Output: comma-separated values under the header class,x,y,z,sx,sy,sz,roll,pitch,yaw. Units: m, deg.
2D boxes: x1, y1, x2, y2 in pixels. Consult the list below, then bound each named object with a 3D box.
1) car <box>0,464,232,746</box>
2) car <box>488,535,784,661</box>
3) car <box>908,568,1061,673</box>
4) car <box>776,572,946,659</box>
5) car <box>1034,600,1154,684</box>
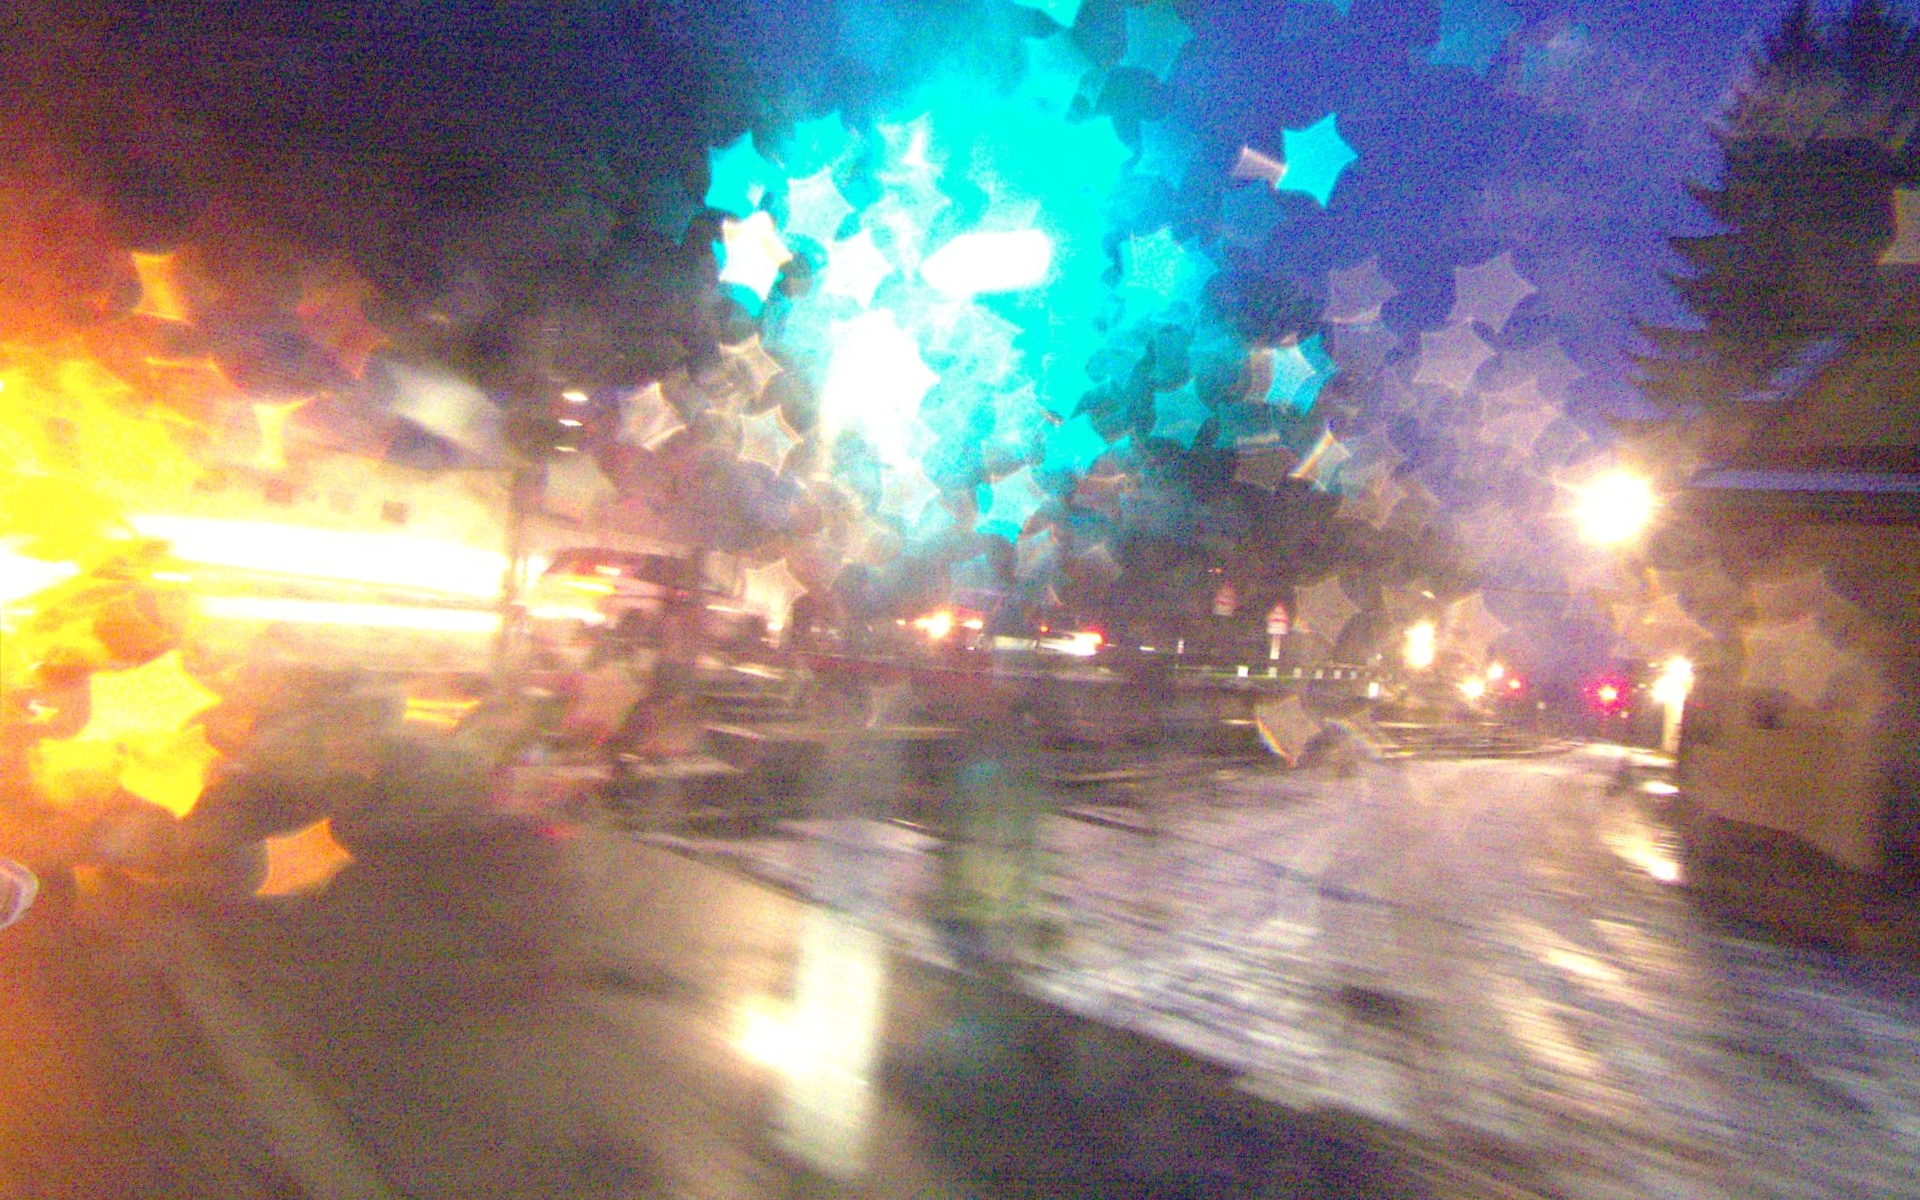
class,x,y,z,sx,sy,sz,roll,pitch,yaw
car,-7.249,-0.145,7.256,2.038,1.696,4.120,10,-3,-21
car,-4.889,0.054,15.837,1.882,1.529,4.235,8,0,27
car,0.848,0.691,30.399,2.140,2.468,4.855,6,-4,33
car,-2.386,0.438,25.331,1.949,1.533,4.202,6,-4,33
car,4.044,1.306,29.755,1.747,1.969,4.249,8,-2,31
